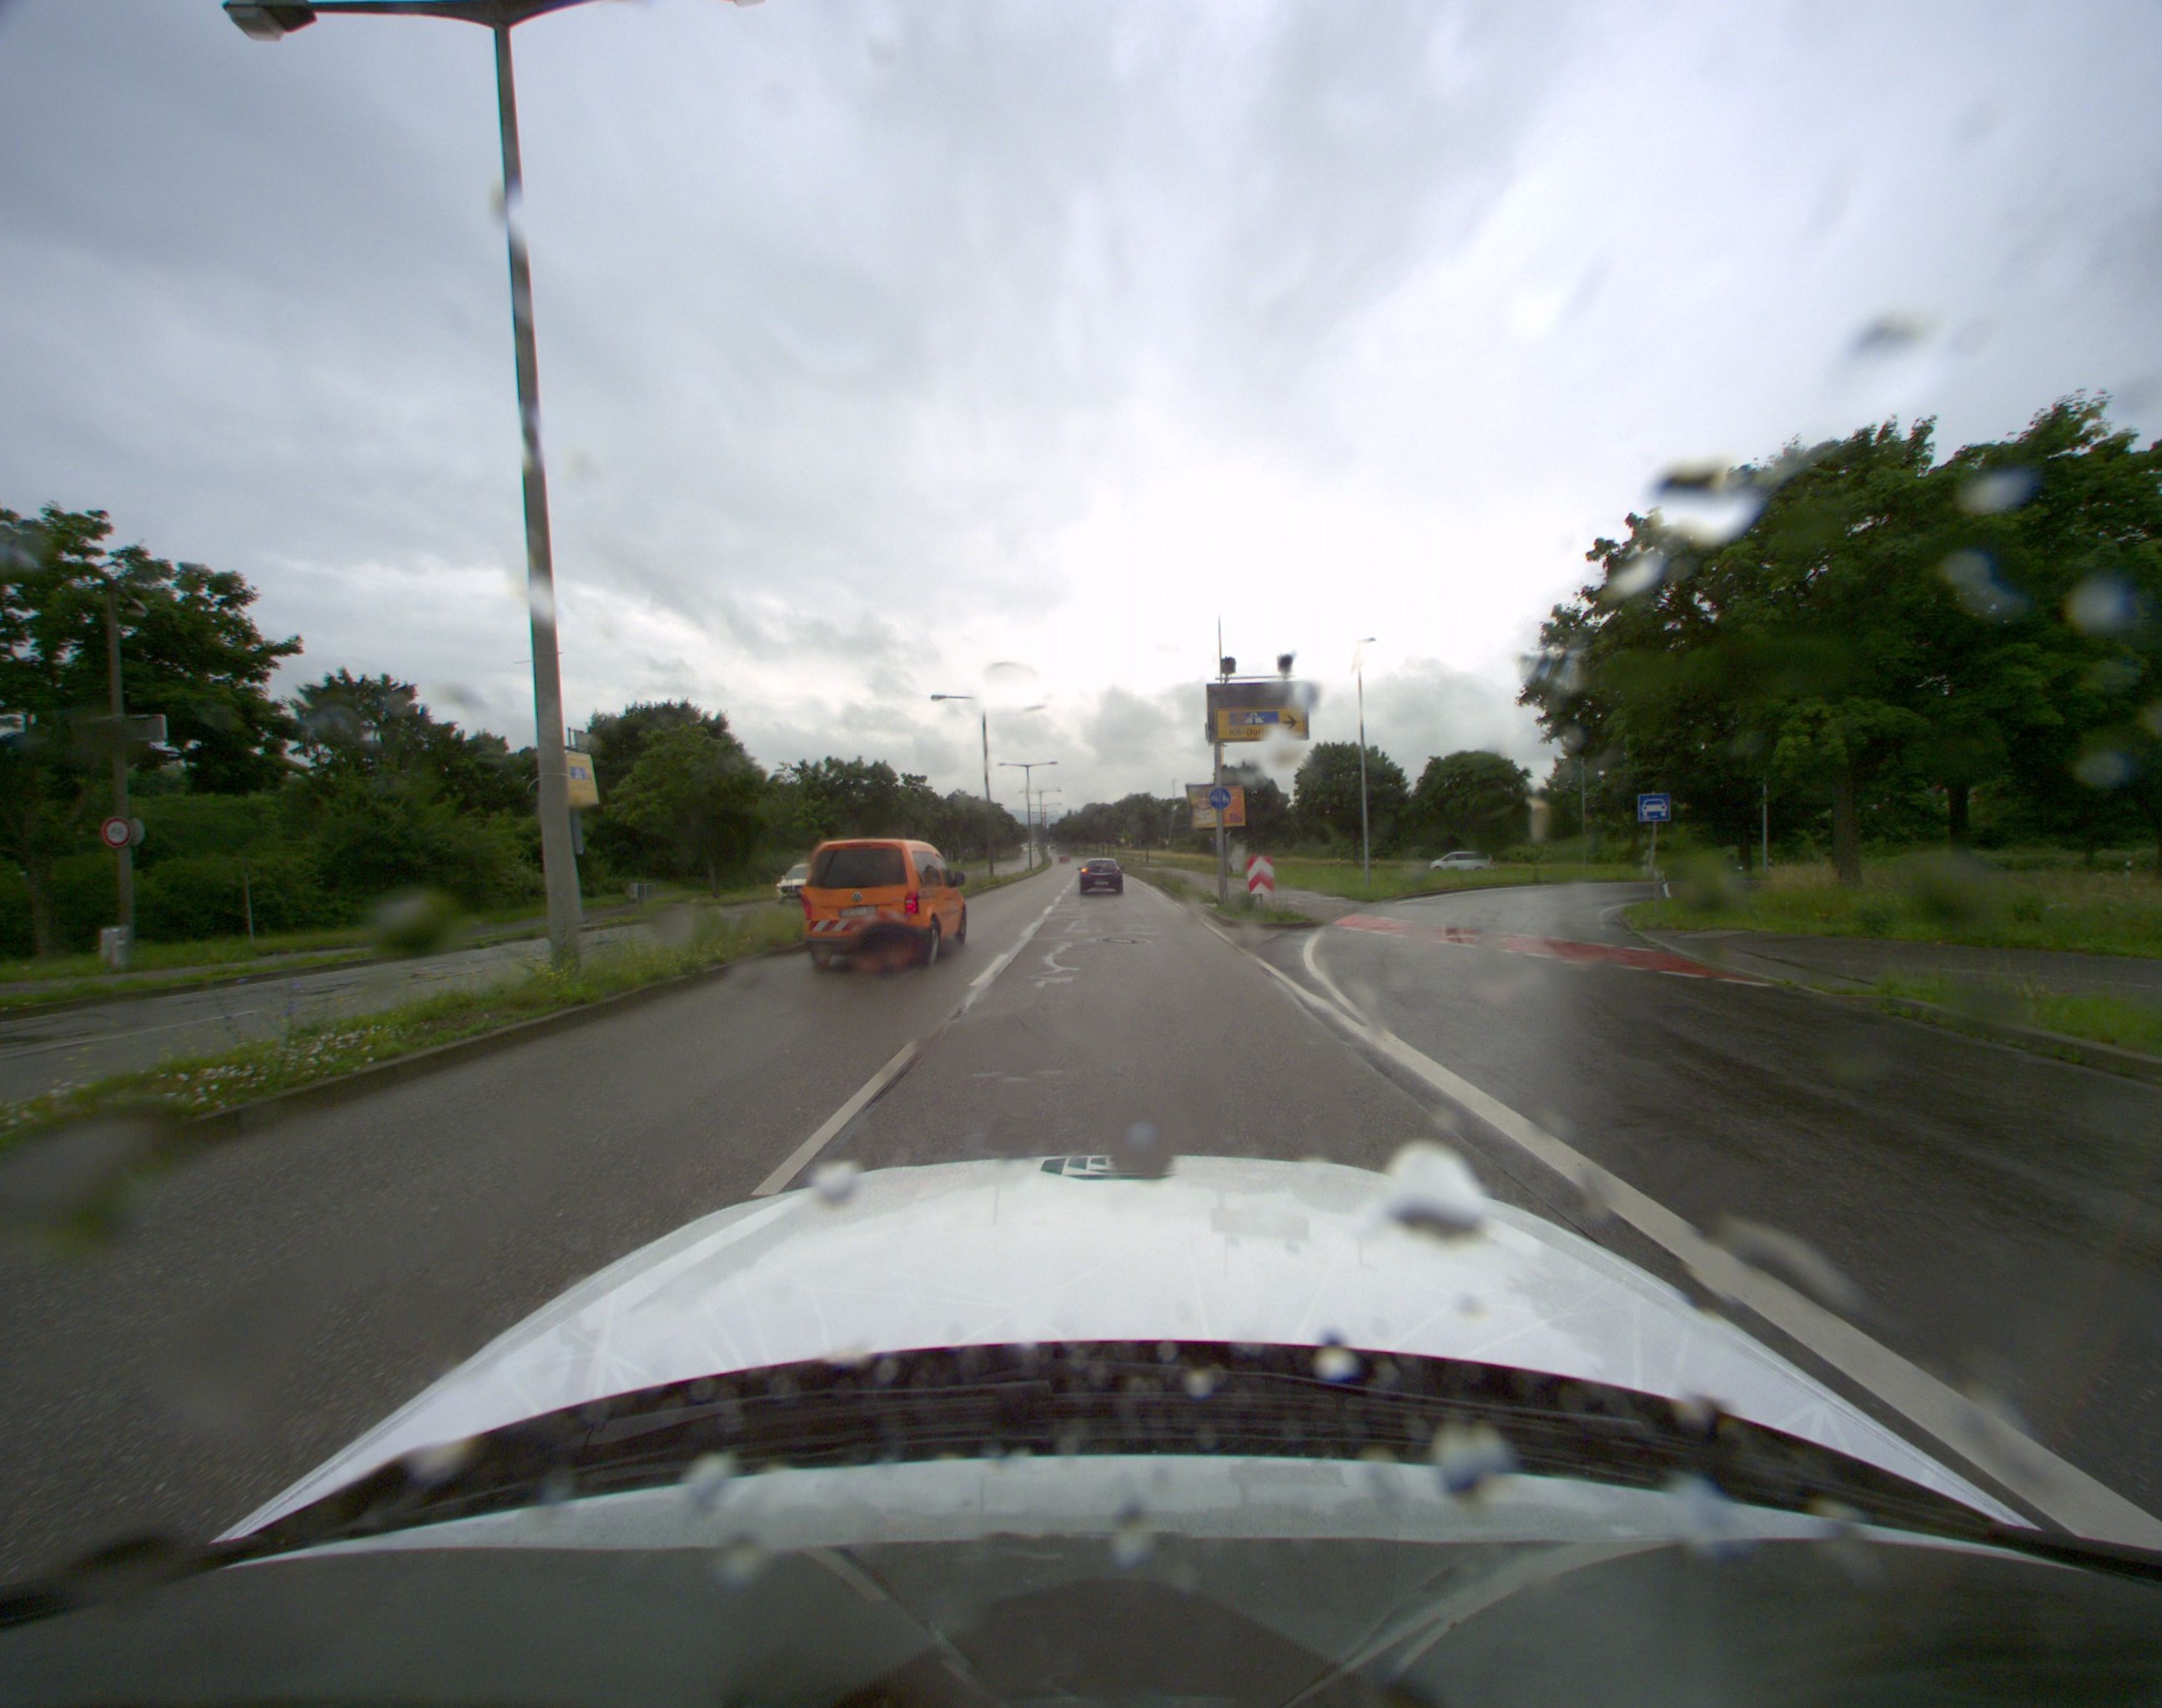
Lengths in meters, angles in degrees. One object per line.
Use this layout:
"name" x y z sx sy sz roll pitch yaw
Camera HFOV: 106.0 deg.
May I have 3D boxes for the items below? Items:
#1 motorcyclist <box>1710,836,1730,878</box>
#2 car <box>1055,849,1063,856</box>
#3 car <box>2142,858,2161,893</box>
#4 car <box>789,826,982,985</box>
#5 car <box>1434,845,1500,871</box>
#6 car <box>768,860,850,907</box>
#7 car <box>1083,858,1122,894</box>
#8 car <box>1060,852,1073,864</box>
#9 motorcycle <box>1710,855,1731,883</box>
"motorcyclist" 25.913 0.112 33.023 0.595 1.690 0.866 -3 -1 39
"car" -7.056 -0.459 258.016 2.510 2.052 5.287 -2 0 -3
"car" 52.044 0.983 37.315 3.962 1.618 1.866 -1 0 10
"car" -2.845 0.682 13.046 1.728 2.019 4.851 -2 0 2
"car" 31.335 0.338 66.102 4.549 1.974 2.079 -1 0 33
"car" -11.020 1.142 33.334 1.701 1.629 4.492 -4 0 1
"car" 0.851 0.850 33.032 1.458 1.329 3.758 -1 1 1
"car" -2.307 0.716 134.454 1.987 1.879 4.000 -1 0 1
"motorcycle" 25.944 0.605 33.037 0.595 1.093 1.743 -2 -1 39
